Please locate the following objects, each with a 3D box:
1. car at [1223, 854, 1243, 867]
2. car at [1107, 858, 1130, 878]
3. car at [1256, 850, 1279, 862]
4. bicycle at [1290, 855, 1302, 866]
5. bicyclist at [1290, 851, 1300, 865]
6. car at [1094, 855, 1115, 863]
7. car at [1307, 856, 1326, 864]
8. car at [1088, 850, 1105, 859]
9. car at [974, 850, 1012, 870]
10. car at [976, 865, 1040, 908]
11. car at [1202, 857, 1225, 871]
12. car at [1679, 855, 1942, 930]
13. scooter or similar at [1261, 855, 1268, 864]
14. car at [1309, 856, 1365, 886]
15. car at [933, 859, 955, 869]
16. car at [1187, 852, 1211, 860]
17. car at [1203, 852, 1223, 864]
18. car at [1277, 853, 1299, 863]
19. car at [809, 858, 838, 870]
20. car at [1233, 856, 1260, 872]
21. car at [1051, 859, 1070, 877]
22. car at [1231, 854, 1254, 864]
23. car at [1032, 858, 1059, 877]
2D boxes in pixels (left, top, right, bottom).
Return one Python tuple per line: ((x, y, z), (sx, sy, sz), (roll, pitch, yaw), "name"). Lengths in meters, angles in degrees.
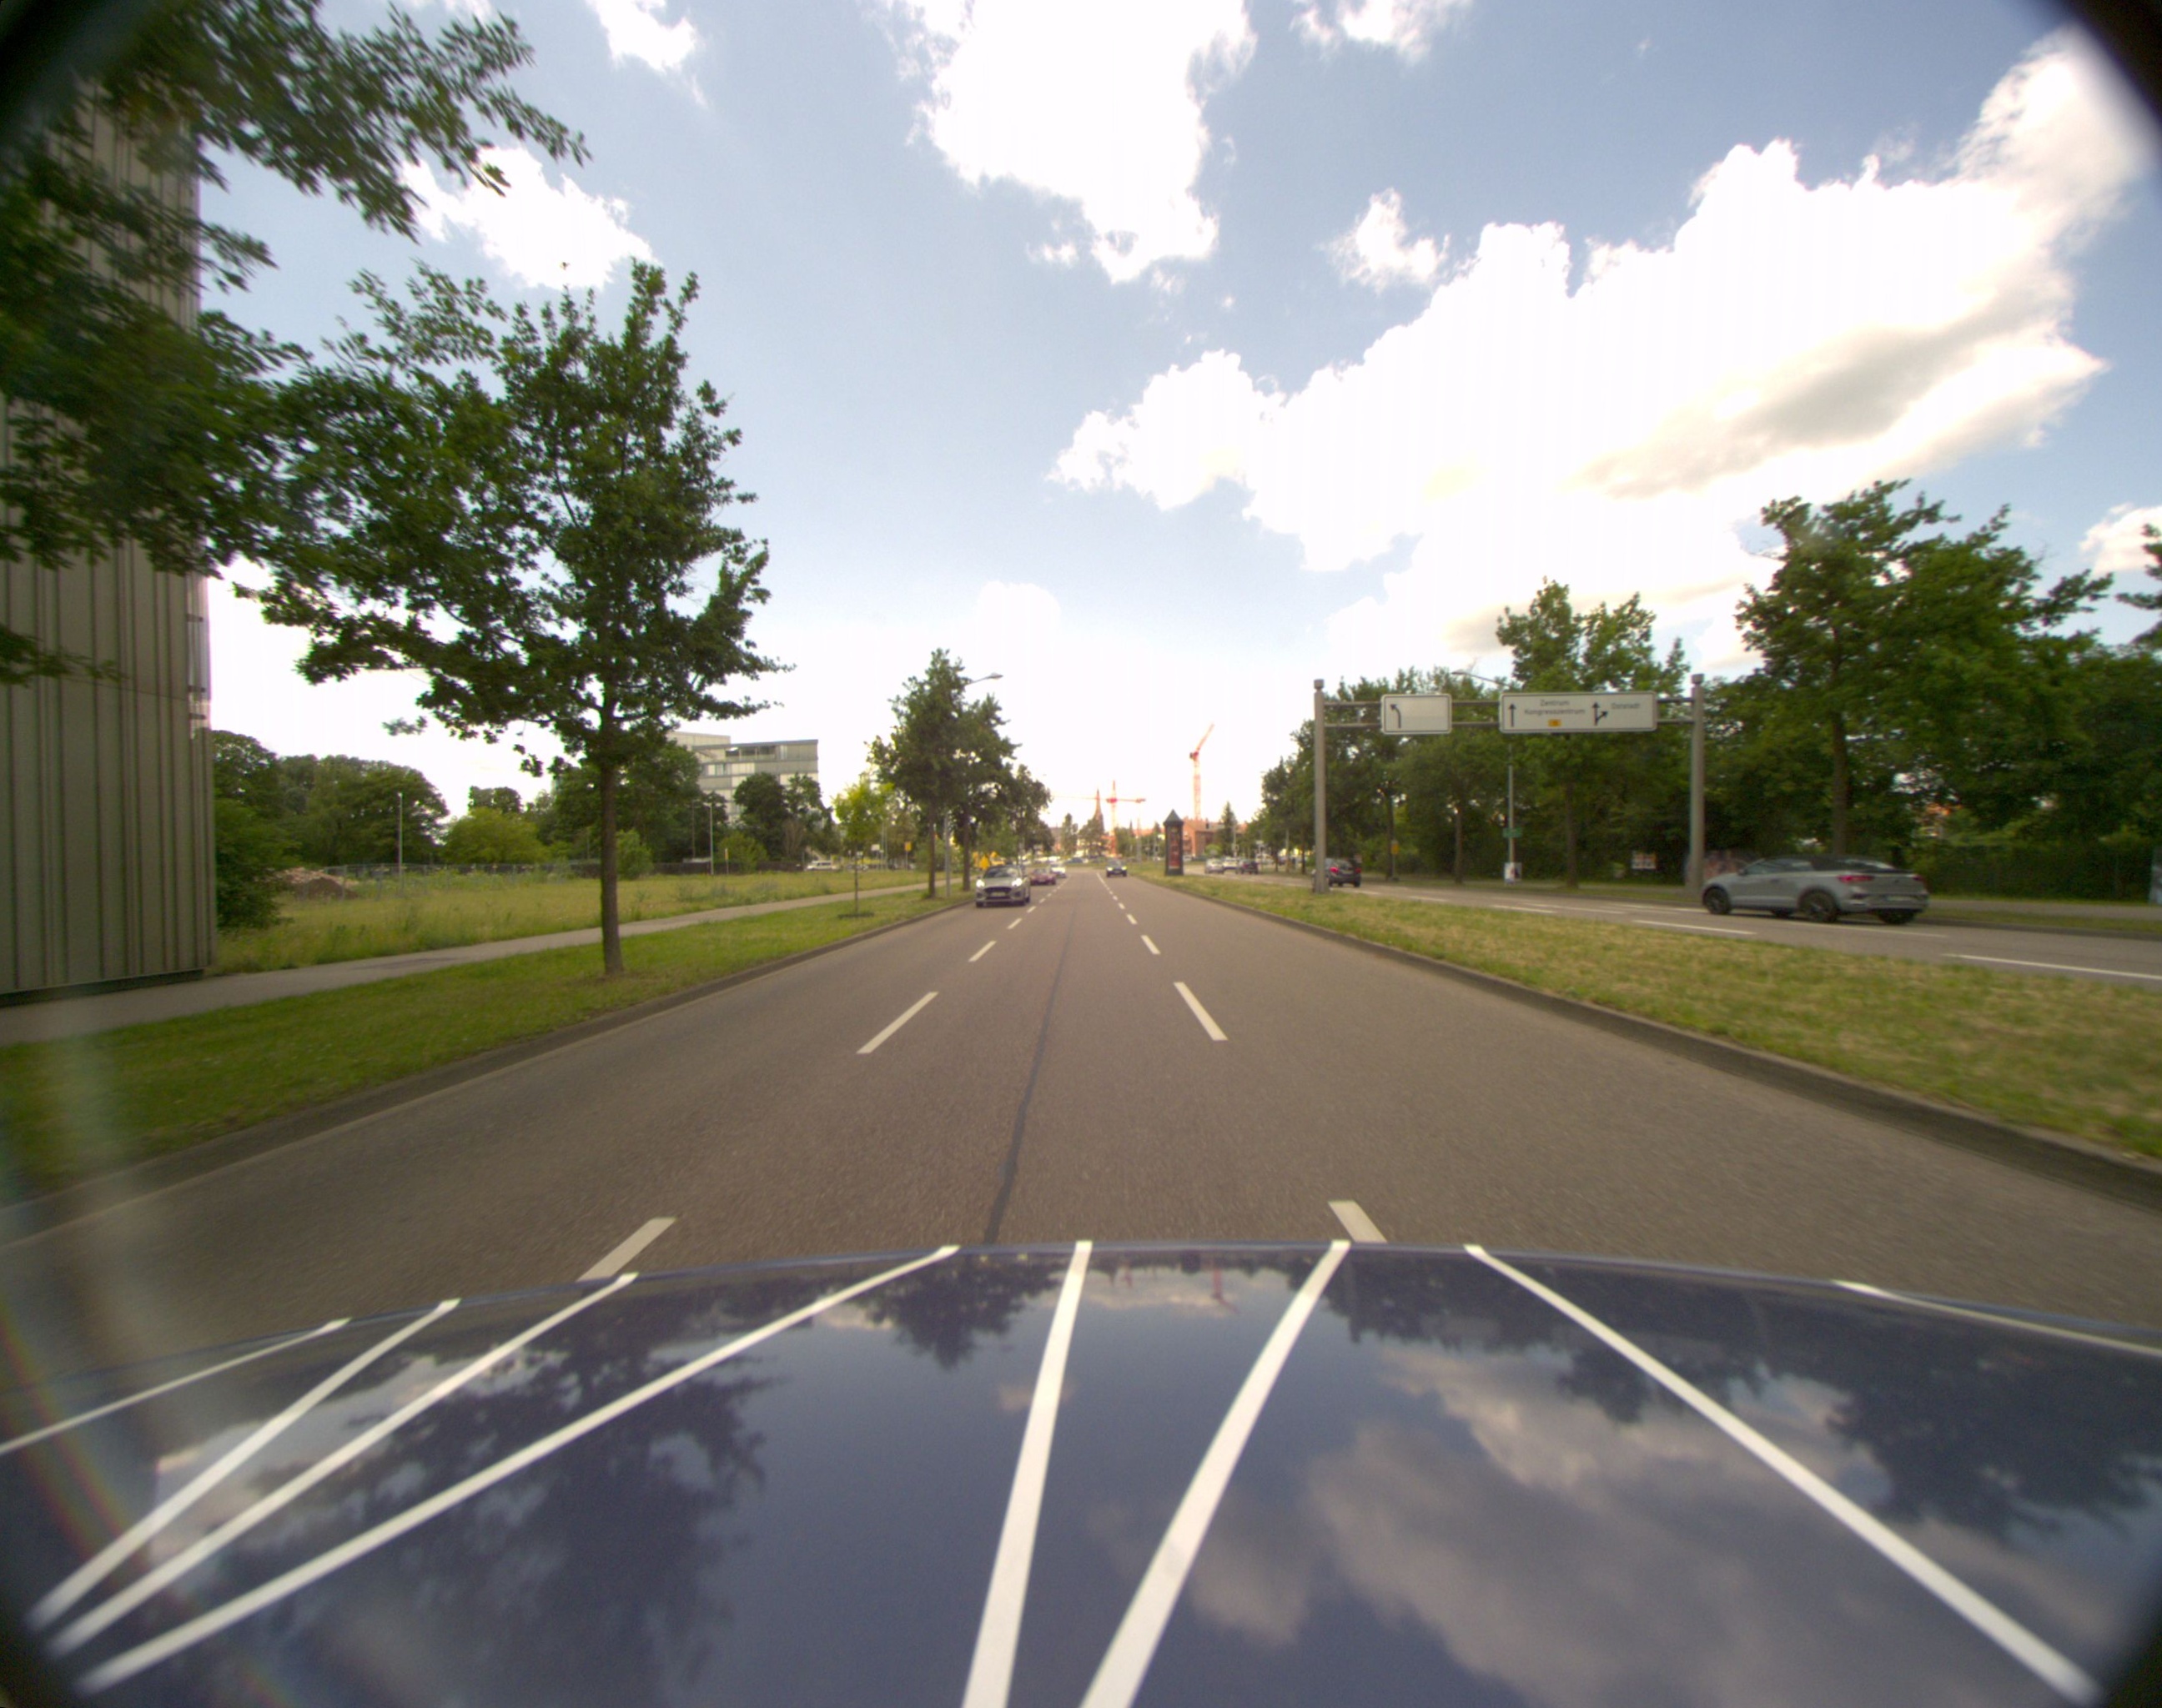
((18.799, 0.744, 94.077), (1.912, 1.532, 4.374), (0, 0, 18), "car")
((3.500, 1.306, 71.644), (1.774, 1.590, 4.125), (-3, 2, -2), "car")
((29.754, 0.283, 121.222), (1.838, 1.789, 4.798), (1, 1, 37), "car")
((24.682, 0.701, 87.381), (0.763, 1.212, 2.016), (-3, 1, 0), "bicycle")
((24.653, 0.420, 87.425), (0.832, 1.556, 0.883), (-3, 1, 0), "bicyclist")
((5.223, 1.118, 167.717), (4.505, 1.512, 2.123), (-2, 0, -3), "car")
((38.916, 0.947, 125.581), (1.616, 1.340, 4.179), (1, 1, 38), "car")
((4.185, 0.221, 202.487), (2.396, 2.184, 6.828), (-2, 0, -17), "car")
((-13.177, 0.856, 113.238), (2.290, 2.836, 7.237), (-1, 0, -35), "car")
((-2.726, 1.186, 29.183), (1.673, 1.462, 4.094), (-1, 0, 5), "car")
((14.193, 1.046, 81.417), (1.767, 1.431, 4.309), (-1, 0, 1), "car")
((16.716, 0.784, 17.826), (1.746, 1.536, 4.573), (0, 0, 0), "car")
((22.349, 0.656, 92.541), (0.541, 1.159, 1.441), (-2, 0, 5), "scooter or similar")
((14.196, 0.912, 42.328), (1.745, 1.560, 4.276), (0, 0, 1), "car")
((-23.978, 1.722, 132.577), (2.003, 1.665, 5.058), (0, 0, -32), "car")
((24.447, 0.446, 157.443), (4.579, 1.583, 1.918), (-1, 1, 35), "car")
((17.812, 0.564, 102.272), (1.724, 1.581, 5.021), (0, 0, 21), "car")
((31.488, 0.646, 115.373), (1.838, 1.435, 4.428), (1, 1, 36), "car")
((-51.095, 1.999, 150.849), (2.144, 2.135, 5.161), (-2, 0, 30), "car")
((17.468, 1.047, 80.542), (1.767, 1.568, 5.031), (-1, 0, 0), "car")
((-2.084, 1.369, 77.289), (1.674, 1.589, 4.126), (-3, 1, -3), "car")
((23.987, 0.750, 112.807), (1.838, 1.471, 4.762), (1, 1, 32), "car")
((-2.594, 0.975, 56.132), (1.674, 1.254, 4.092), (-3, 0, 1), "car")
